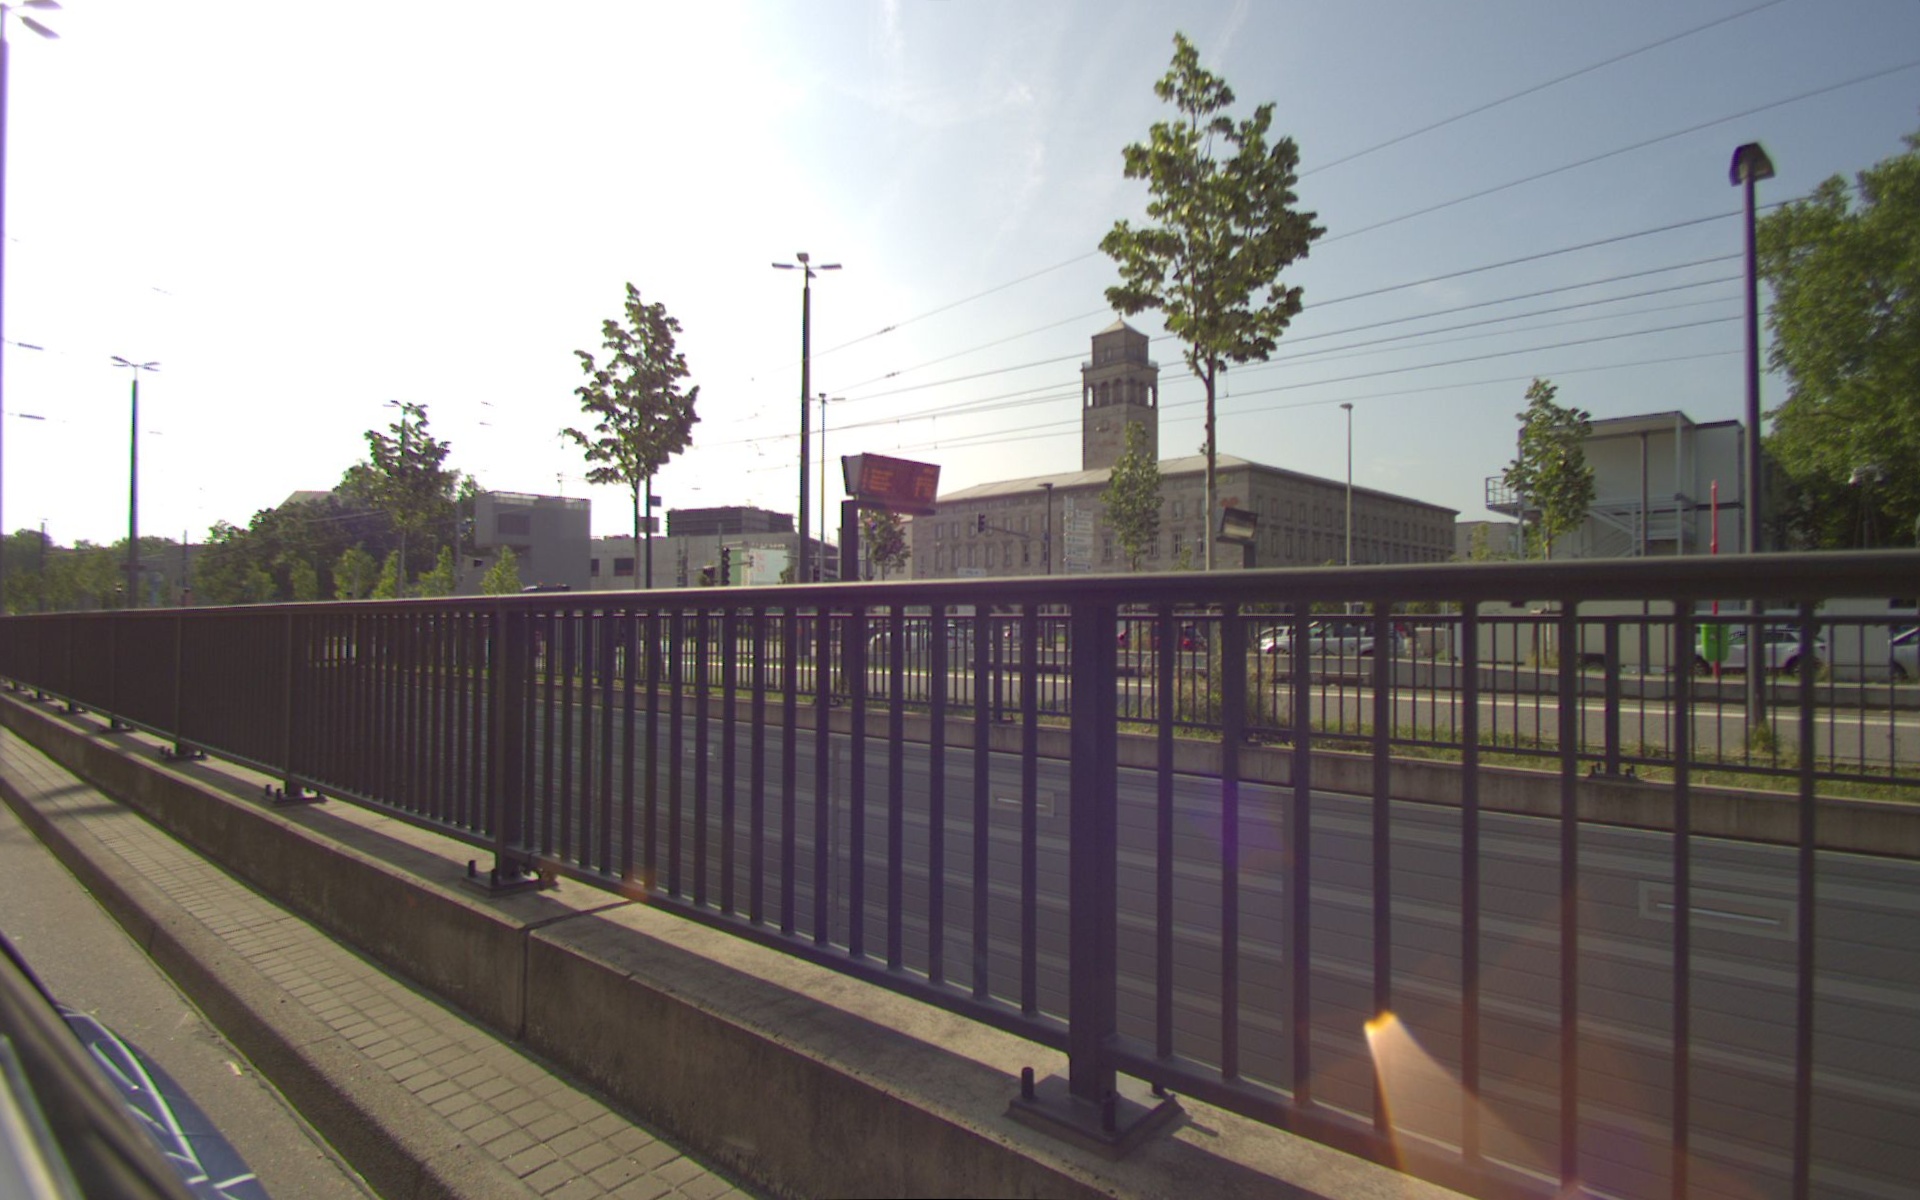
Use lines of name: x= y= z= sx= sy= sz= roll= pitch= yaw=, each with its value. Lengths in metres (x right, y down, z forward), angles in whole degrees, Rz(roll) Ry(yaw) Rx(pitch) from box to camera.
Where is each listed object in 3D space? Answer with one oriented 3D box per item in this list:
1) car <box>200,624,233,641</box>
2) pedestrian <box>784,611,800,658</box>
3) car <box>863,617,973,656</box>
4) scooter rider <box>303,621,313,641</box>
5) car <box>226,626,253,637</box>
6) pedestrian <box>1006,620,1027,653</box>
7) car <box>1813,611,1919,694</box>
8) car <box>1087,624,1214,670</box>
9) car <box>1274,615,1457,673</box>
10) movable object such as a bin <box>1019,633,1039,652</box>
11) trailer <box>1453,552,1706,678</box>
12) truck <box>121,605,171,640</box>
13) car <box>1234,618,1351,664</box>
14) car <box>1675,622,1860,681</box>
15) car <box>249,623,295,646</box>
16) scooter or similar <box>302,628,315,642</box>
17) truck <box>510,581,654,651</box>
car: x=-72.044 y=3.164 z=98.095 sx=3.995 sy=1.613 sz=1.623 roll=-1 pitch=-2 yaw=39
pedestrian: x=-6.072 y=1.240 z=36.534 sx=0.365 sy=1.689 sz=0.642 roll=1 pitch=-2 yaw=-32
car: x=-1.830 y=1.539 z=43.385 sx=4.606 sy=1.594 sz=1.776 roll=-1 pitch=-2 yaw=35
scooter rider: x=-55.907 y=2.666 z=86.752 sx=0.549 sy=1.711 sz=0.532 roll=-2 pitch=-2 yaw=37
car: x=-112.994 y=4.918 z=158.713 sx=4.811 sy=1.781 sz=1.996 roll=-1 pitch=-2 yaw=34
pedestrian: x=3.026 y=1.922 z=54.185 sx=0.553 sy=1.747 sz=1.007 roll=1 pitch=-2 yaw=-45
car: x=20.190 y=1.050 z=20.675 sx=4.149 sy=1.675 sz=1.702 roll=-1 pitch=-1 yaw=42
car: x=6.163 y=1.493 z=32.842 sx=3.693 sy=1.372 sz=1.704 roll=-1 pitch=-1 yaw=38
car: x=11.172 y=1.200 z=28.065 sx=4.400 sy=1.481 sz=1.626 roll=-2 pitch=-2 yaw=41
movable object such as a bin: x=3.662 y=2.245 z=53.517 sx=0.557 sy=1.022 sz=0.908 roll=1 pitch=-2 yaw=-45
trailer: x=15.163 y=0.358 z=24.945 sx=5.019 sy=2.802 sz=2.023 roll=-1 pitch=0 yaw=41
truck: x=-93.897 y=2.651 z=116.638 sx=10.421 sy=3.838 sz=2.939 roll=-2 pitch=-2 yaw=42
car: x=11.214 y=1.353 z=34.239 sx=3.433 sy=1.474 sz=1.579 roll=-1 pitch=-2 yaw=42
car: x=23.326 y=1.438 z=29.321 sx=4.067 sy=1.594 sz=1.702 roll=-2 pitch=-1 yaw=43
car: x=-56.403 y=2.797 z=82.914 sx=4.508 sy=1.802 sz=1.602 roll=-1 pitch=-2 yaw=35
scooter or similar: x=-55.811 y=3.010 z=86.680 sx=1.381 sy=1.155 sz=0.534 roll=-1 pitch=-2 yaw=36
truck: x=-20.976 y=0.931 z=55.923 sx=8.868 sy=3.614 sz=2.996 roll=-2 pitch=-2 yaw=35
